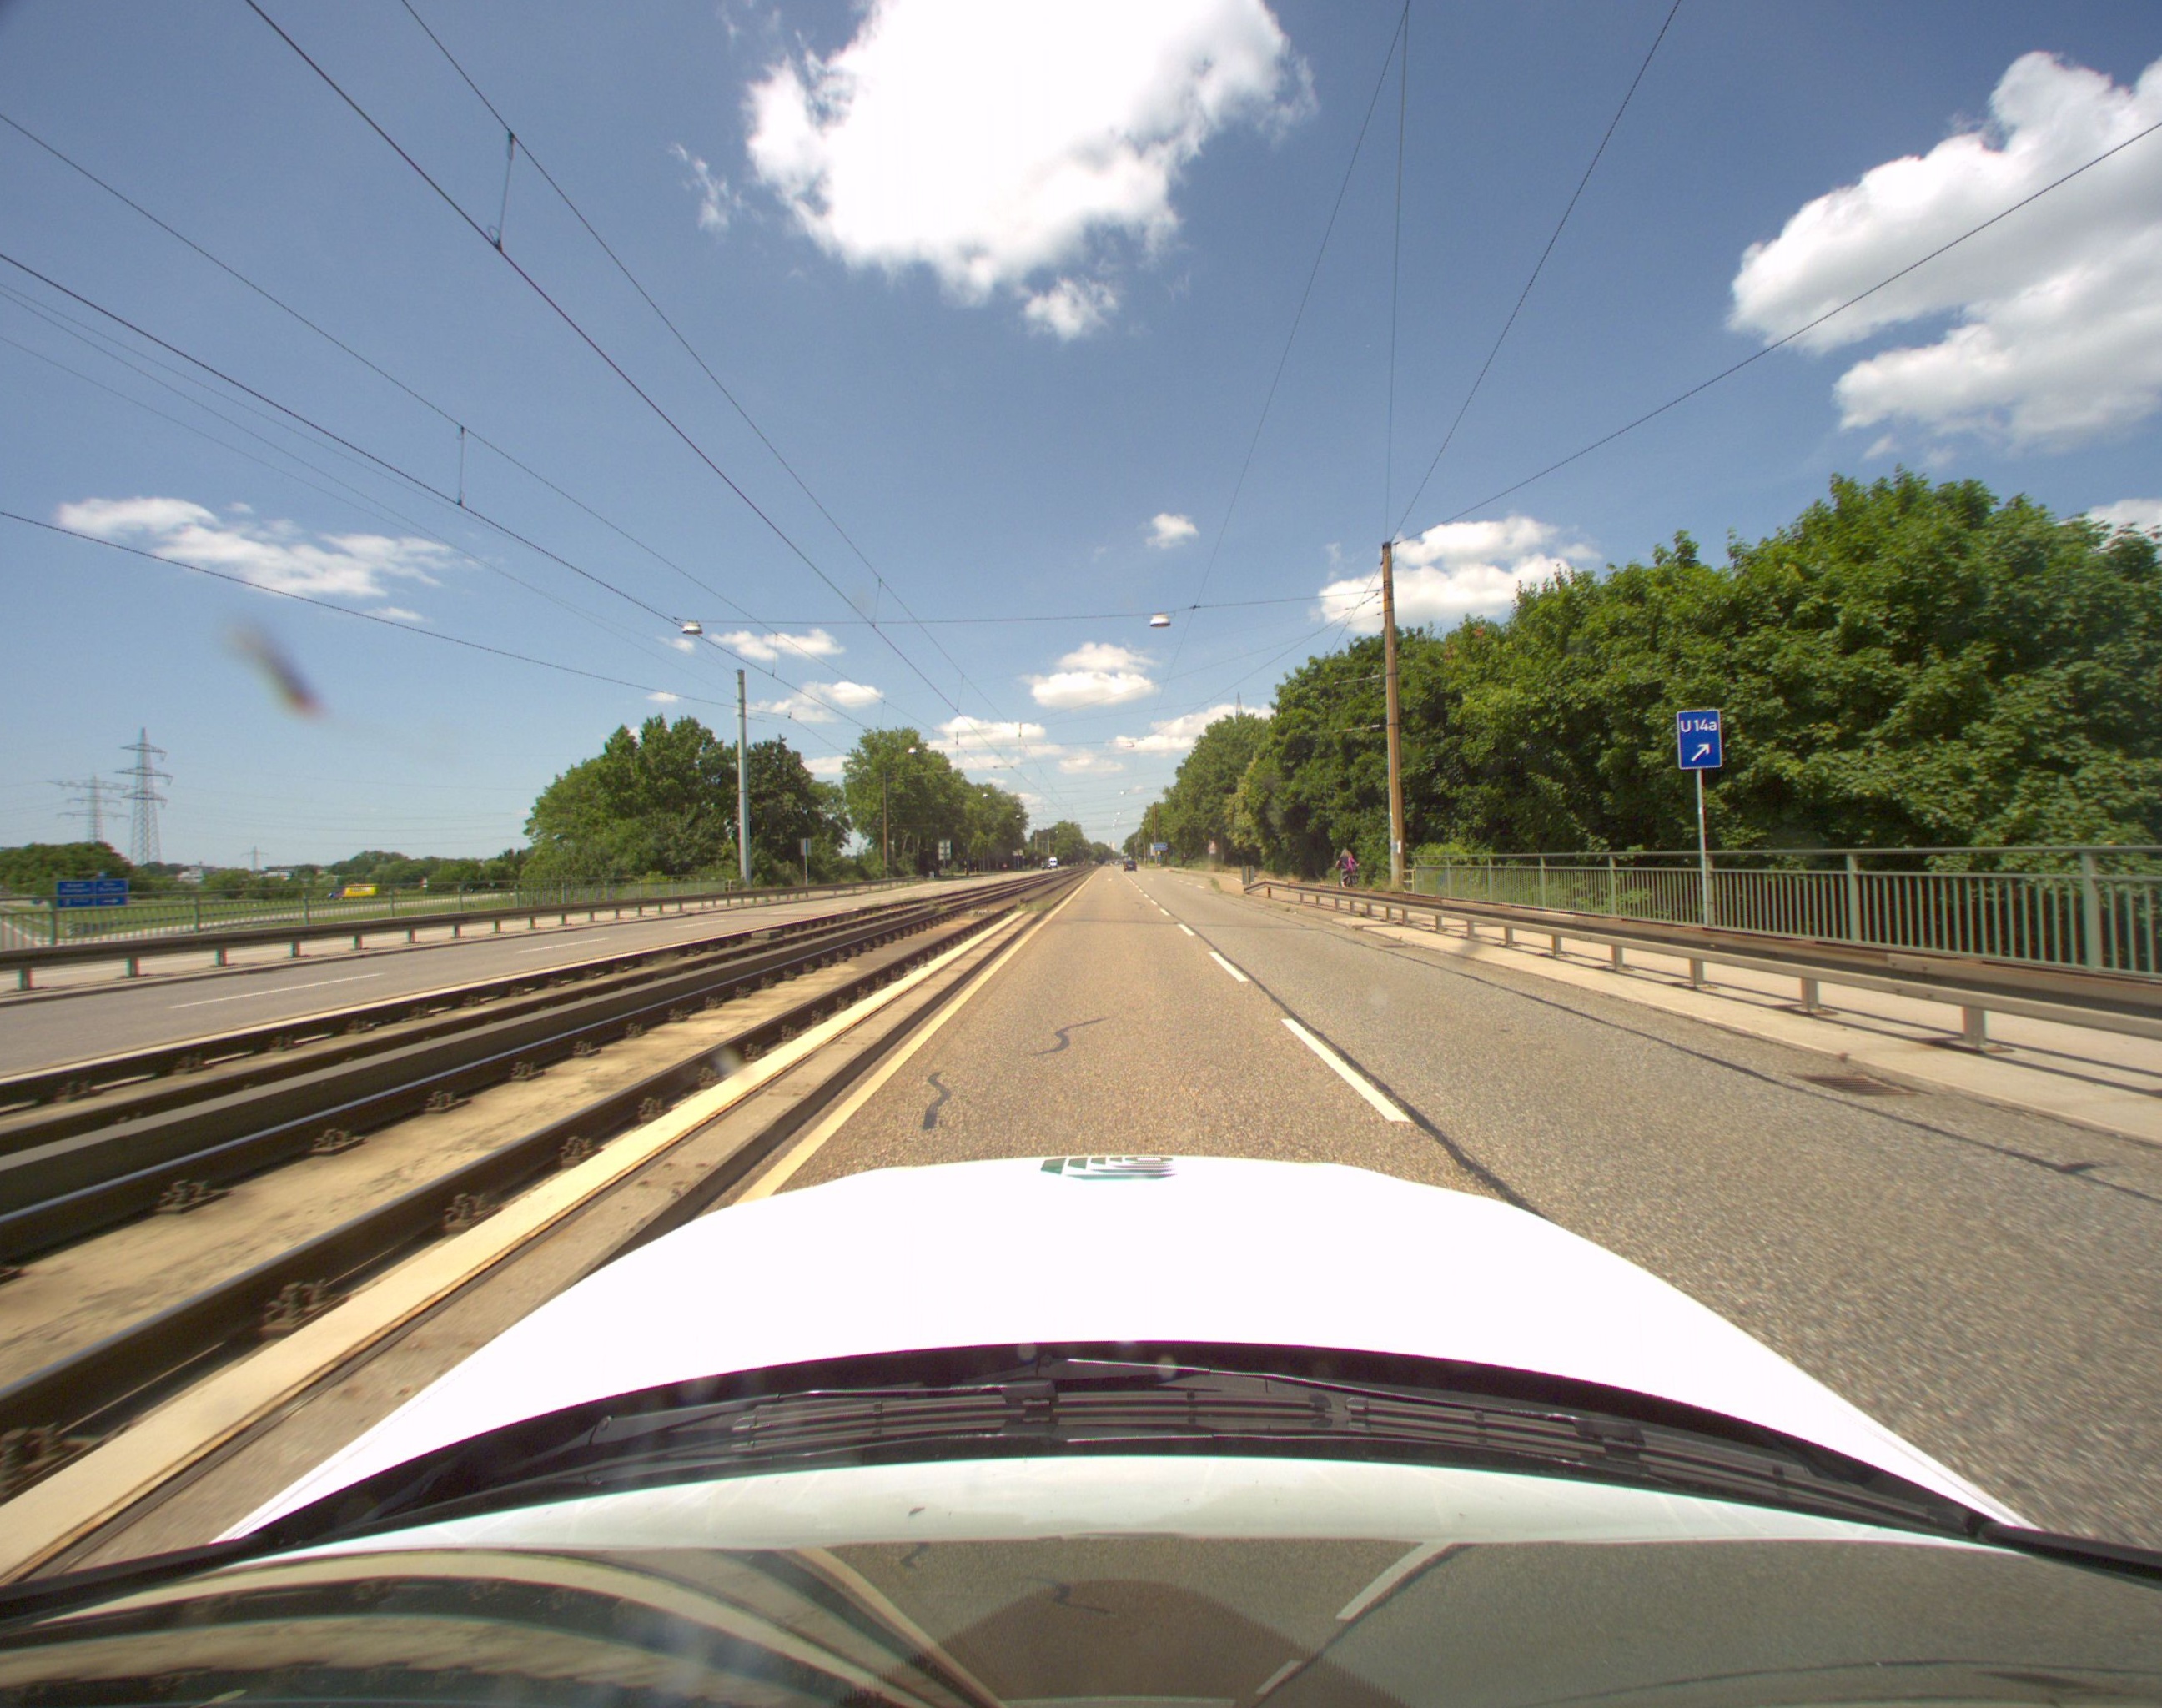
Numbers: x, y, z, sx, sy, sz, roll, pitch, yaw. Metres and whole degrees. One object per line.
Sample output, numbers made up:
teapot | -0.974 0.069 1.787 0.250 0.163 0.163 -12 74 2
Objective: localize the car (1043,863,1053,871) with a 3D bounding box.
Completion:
car | -7.080 2.776 174.963 1.811 1.514 4.429 -2 -1 2

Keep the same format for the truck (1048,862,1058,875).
truck | -6.835 3.465 199.512 2.046 2.939 6.322 -3 -1 2

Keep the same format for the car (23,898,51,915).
car | -121.495 6.069 94.809 3.950 1.642 1.751 4 0 41

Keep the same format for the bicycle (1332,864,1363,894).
bicycle | 9.607 0.872 29.411 0.557 1.024 1.849 -2 -1 2

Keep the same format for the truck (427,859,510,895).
truck | -103.276 3.914 137.588 10.847 5.637 3.263 2 1 -31

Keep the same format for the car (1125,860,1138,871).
car | 7.100 1.624 114.071 1.580 1.343 3.272 -2 0 0

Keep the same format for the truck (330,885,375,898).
truck | -112.461 5.711 125.722 4.805 1.768 1.938 0 1 -22

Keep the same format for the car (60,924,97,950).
car | -96.183 7.940 78.106 3.949 2.014 2.012 2 -1 37

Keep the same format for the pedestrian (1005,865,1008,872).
pedestrian | -14.963 2.915 164.384 0.512 1.551 0.703 -3 -1 -4

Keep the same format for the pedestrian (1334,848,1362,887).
pedestrian | 9.605 0.481 29.335 0.625 1.374 1.051 -2 -1 2
